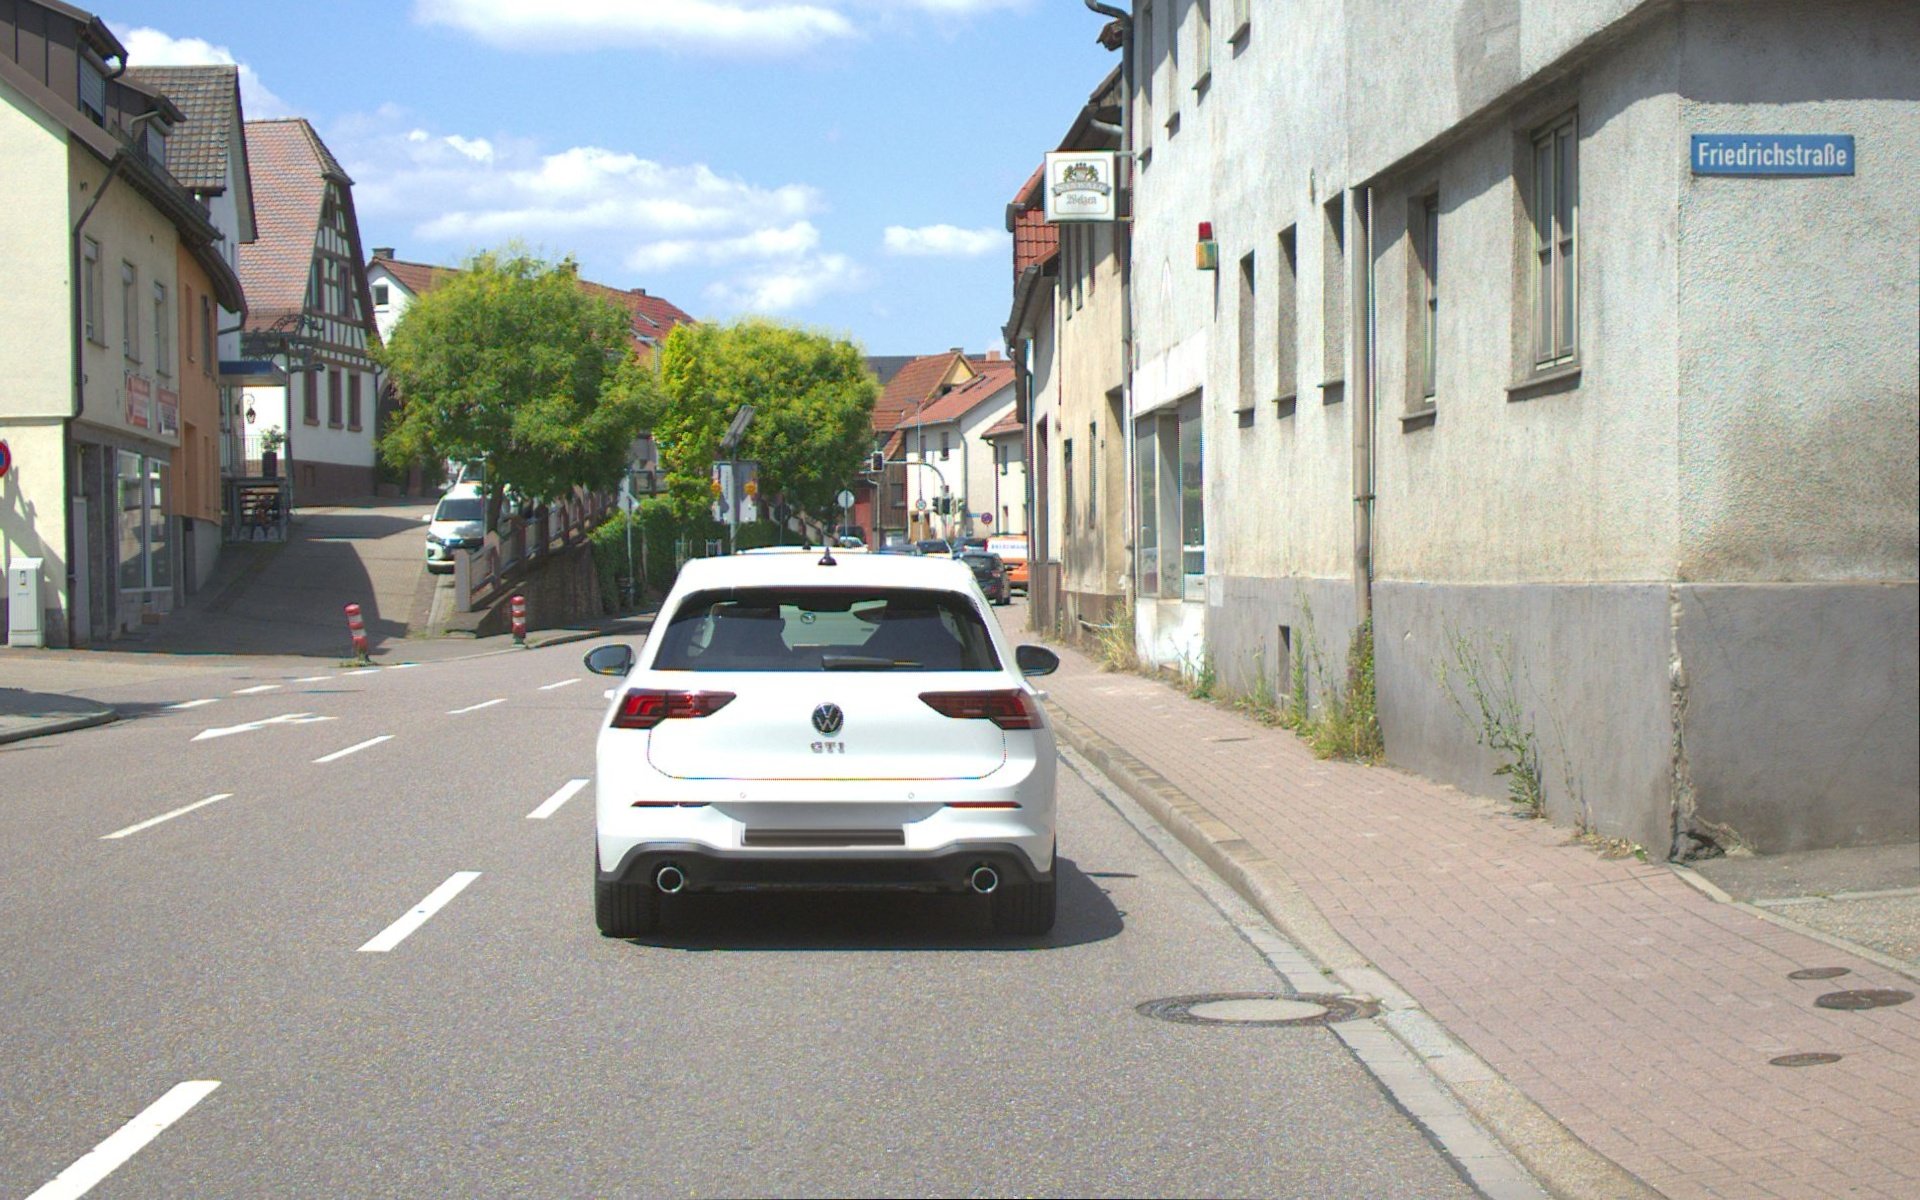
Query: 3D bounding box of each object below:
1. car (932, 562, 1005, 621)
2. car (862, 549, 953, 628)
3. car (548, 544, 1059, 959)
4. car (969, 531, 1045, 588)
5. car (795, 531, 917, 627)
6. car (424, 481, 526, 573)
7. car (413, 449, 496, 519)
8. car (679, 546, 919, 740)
[{"bbox_3d":[0.260,-0.263,95.414,1.775,1.533,4.000,-1,1,4],"label":"car"},{"bbox_3d":[-1.073,-0.263,72.078,1.775,1.533,4.000,-1,1,1],"label":"car"},{"bbox_3d":[-0.558,0.513,14.217,1.808,1.462,4.000,0,1,0],"label":"car"},{"bbox_3d":[1.544,-1.337,111.287,1.776,1.759,3.998,-1,1,11],"label":"car"},{"bbox_3d":[-1.615,-0.345,54.733,1.808,1.462,4.000,0,1,0],"label":"car"},{"bbox_3d":[-10.140,-1.549,72.105,1.693,1.537,3.857,-1,7,-2],"label":"car"},{"bbox_3d":[-12.363,-2.862,84.298,1.576,1.357,3.857,-1,7,-2],"label":"car"},{"bbox_3d":[-1.331,0.299,28.034,1.807,1.462,4.001,0,1,-3],"label":"car"}]
